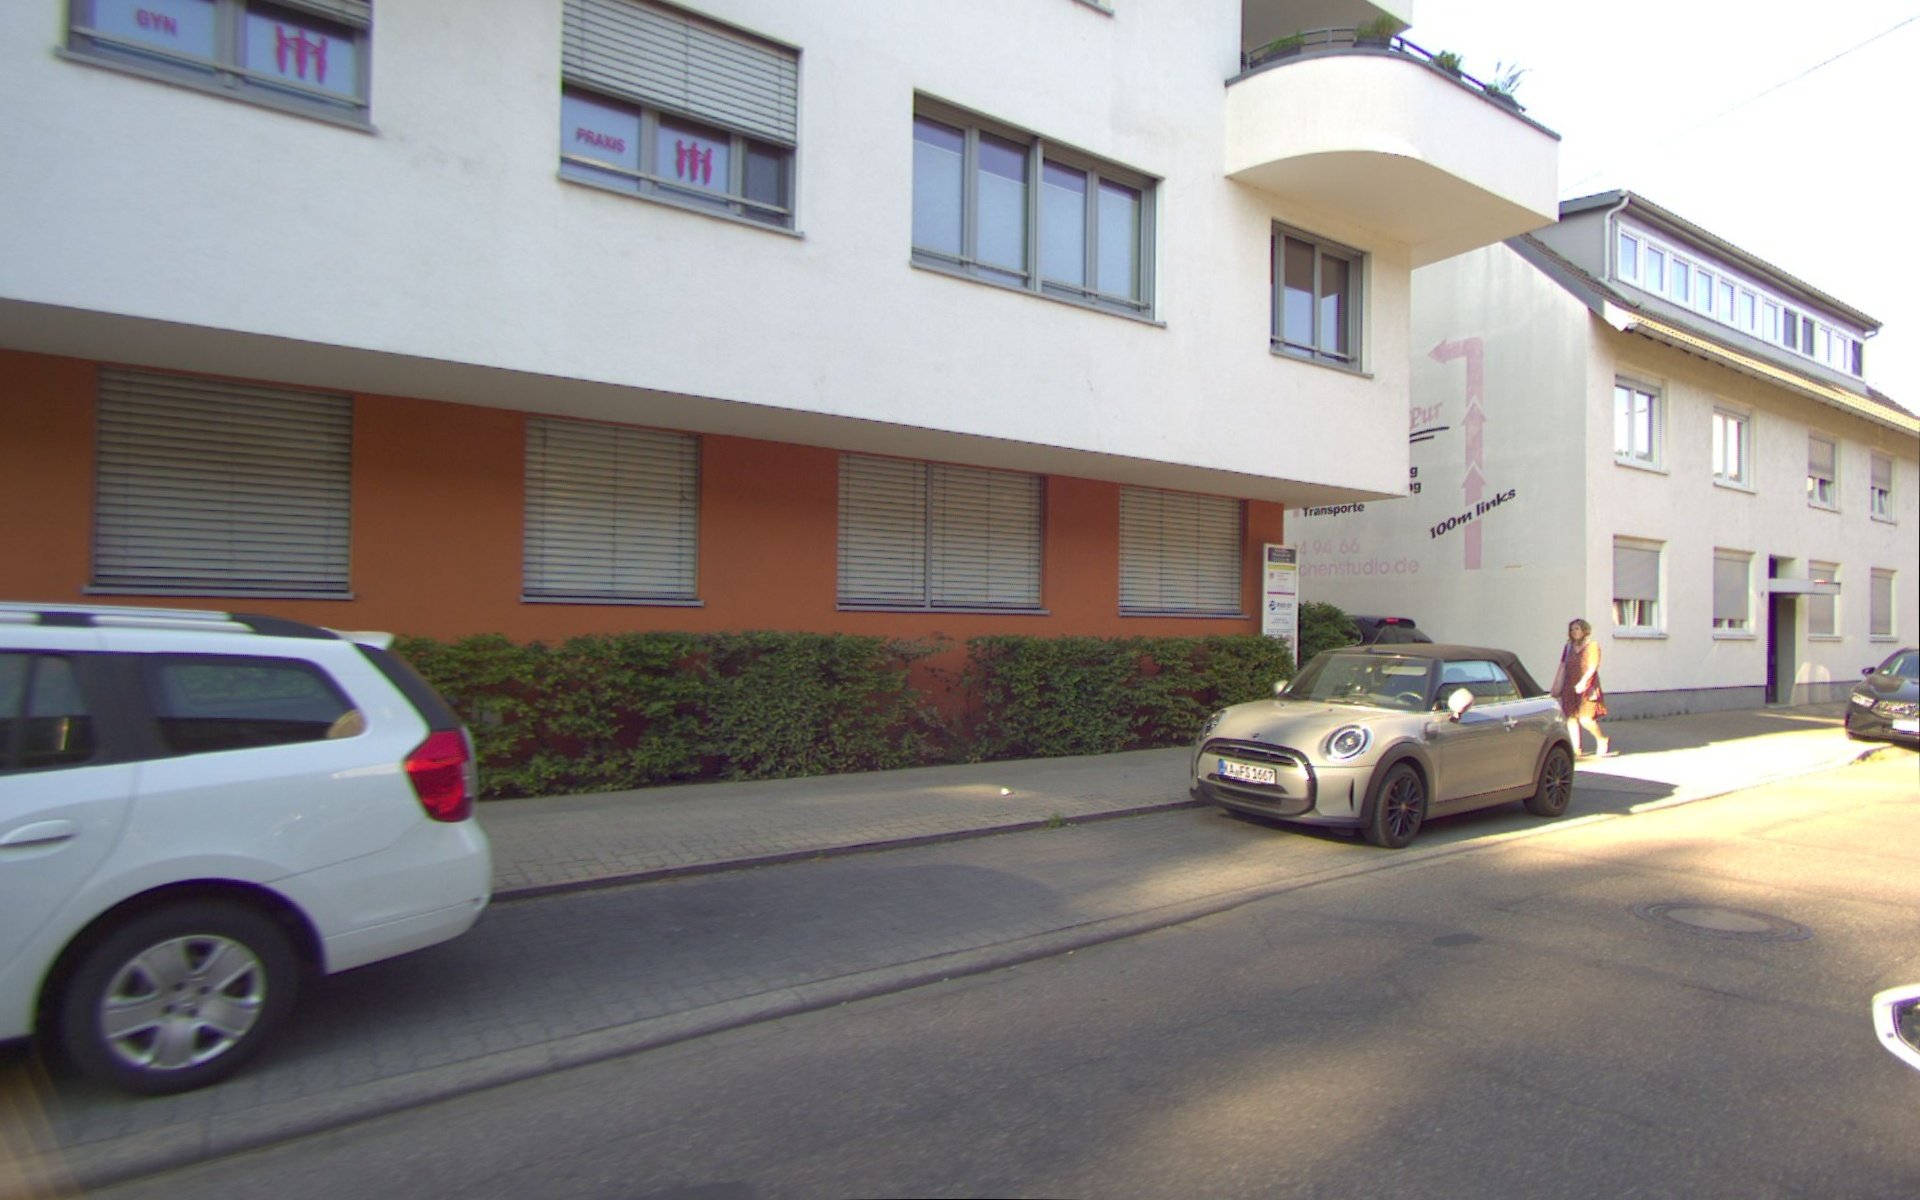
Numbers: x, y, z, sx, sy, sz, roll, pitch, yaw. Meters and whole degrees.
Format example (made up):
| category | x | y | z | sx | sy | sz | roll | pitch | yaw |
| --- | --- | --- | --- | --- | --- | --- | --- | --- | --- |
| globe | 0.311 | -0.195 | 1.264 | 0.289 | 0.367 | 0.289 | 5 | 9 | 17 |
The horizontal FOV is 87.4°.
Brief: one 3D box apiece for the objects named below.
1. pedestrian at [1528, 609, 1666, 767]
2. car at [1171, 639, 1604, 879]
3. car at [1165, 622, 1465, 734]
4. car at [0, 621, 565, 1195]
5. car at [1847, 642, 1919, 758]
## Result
| category | x | y | z | sx | sy | sz | roll | pitch | yaw |
| --- | --- | --- | --- | --- | --- | --- | --- | --- | --- |
| pedestrian | 7.854 | 1.056 | 12.414 | 1.112 | 1.843 | 0.862 | 1 | 1 | -11 |
| car | 3.718 | 1.146 | 8.510 | 3.820 | 1.556 | 1.656 | 2 | -1 | -36 |
| car | 5.954 | 1.304 | 17.401 | 1.995 | 1.659 | 4.577 | 1 | -4 | -36 |
| car | -3.873 | 0.870 | 3.125 | 4.581 | 1.608 | 1.843 | 2 | -2 | -38 |
| car | 14.835 | 1.443 | 15.012 | 4.297 | 1.555 | 1.671 | 2 | -2 | -39 |
